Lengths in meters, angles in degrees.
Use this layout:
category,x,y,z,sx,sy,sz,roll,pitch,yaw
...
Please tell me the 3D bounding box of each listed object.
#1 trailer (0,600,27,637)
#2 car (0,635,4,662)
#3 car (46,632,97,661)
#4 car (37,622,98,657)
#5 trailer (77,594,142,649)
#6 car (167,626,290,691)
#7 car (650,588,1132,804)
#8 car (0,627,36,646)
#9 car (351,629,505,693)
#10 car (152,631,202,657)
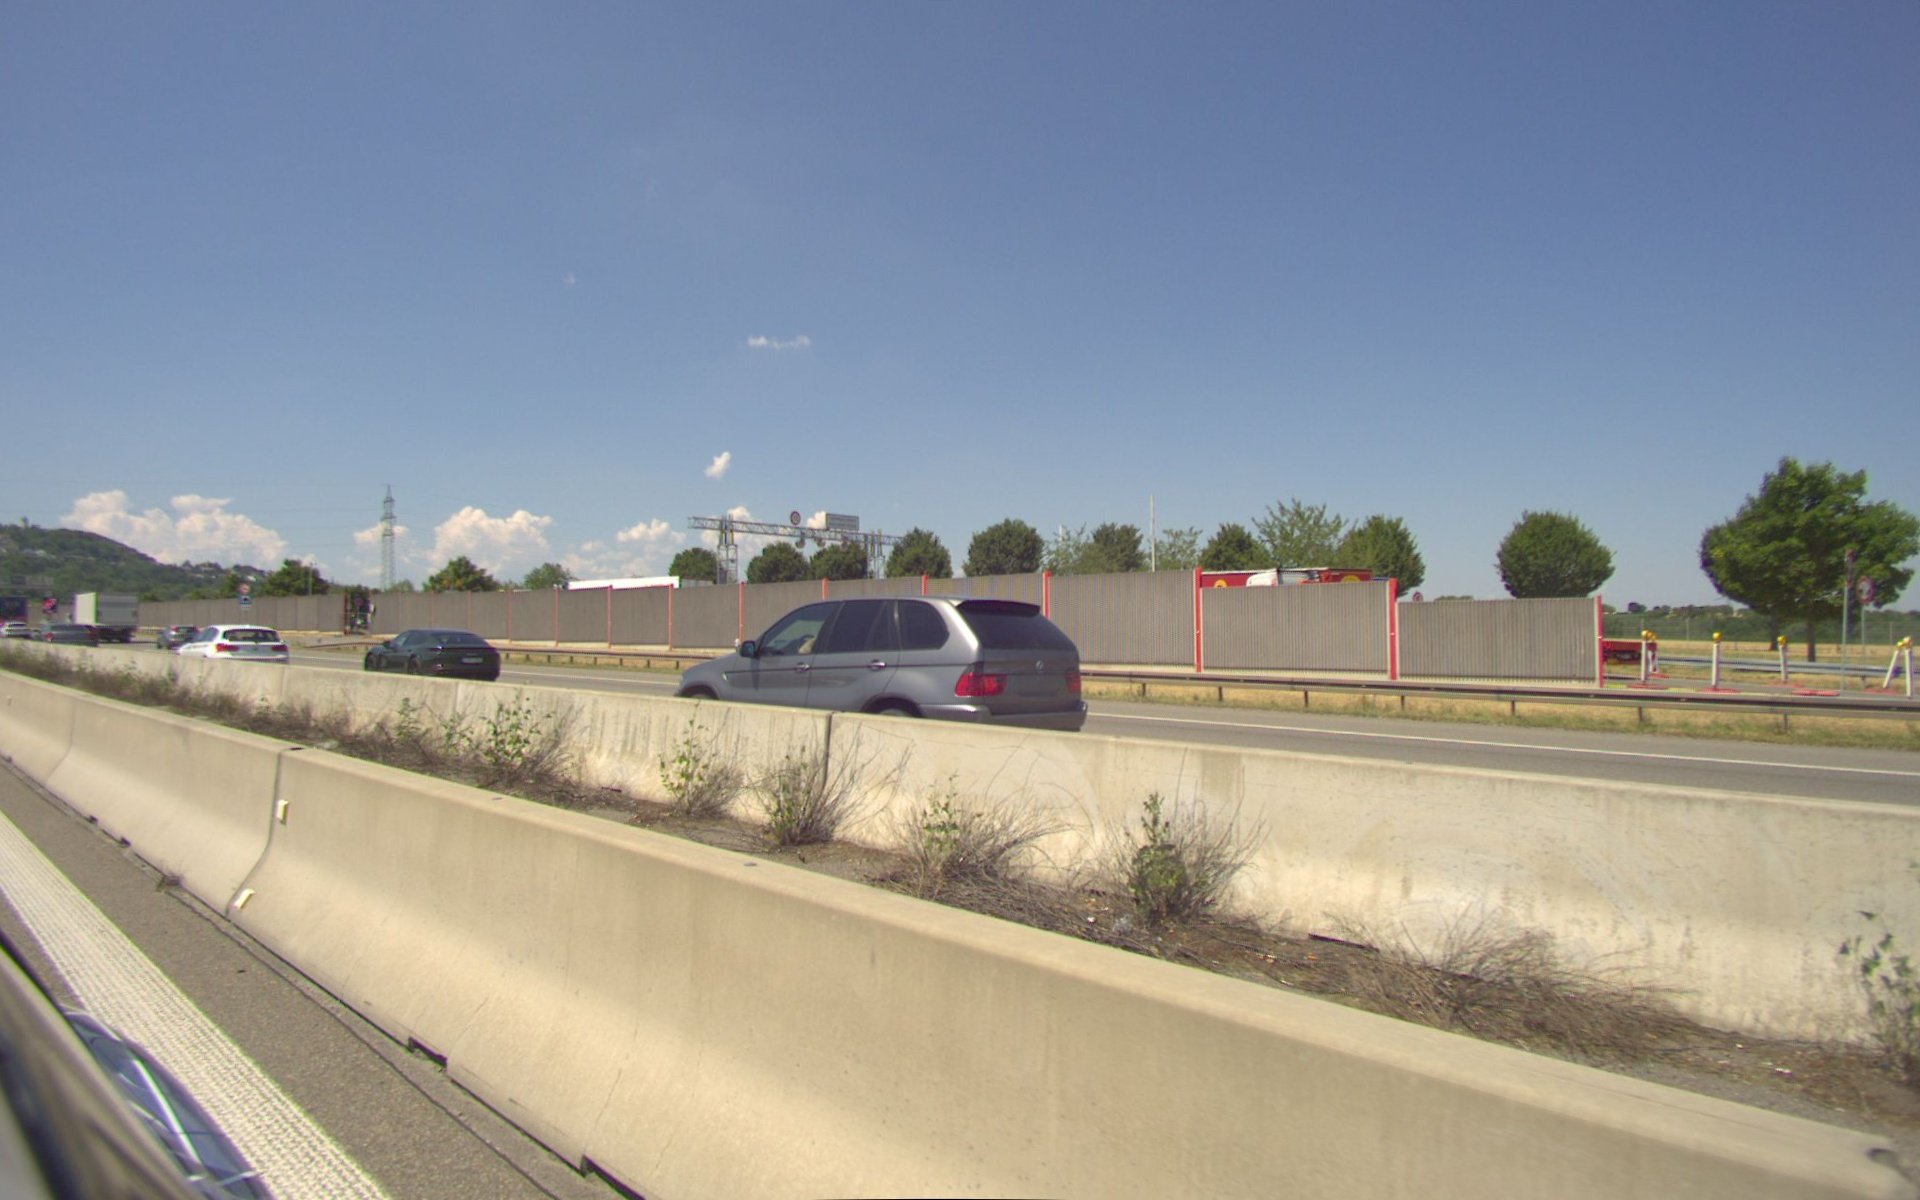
category,x,y,z,sx,sy,sz,roll,pitch,yaw
trailer,-111.547,2.158,117.594,15.156,4.097,2.953,-1,-1,41
car,-66.414,3.294,68.522,4.642,1.772,1.973,-2,-2,41
car,-56.983,2.967,64.904,3.998,1.772,1.973,-2,-2,41
car,-41.952,1.820,47.538,3.998,1.530,1.638,-1,-1,41
trailer,-63.514,1.604,75.502,6.613,3.903,2.620,-1,-3,41
car,-19.272,1.462,26.586,4.506,1.530,1.657,-1,-1,41
car,-0.888,0.762,9.919,4.818,1.629,1.870,-1,-1,41
car,-79.111,3.011,84.889,5.101,1.441,1.772,0,0,40
car,-13.814,1.533,26.130,4.960,1.497,1.793,-1,-4,41
car,-47.536,2.669,61.443,3.998,1.530,1.638,-1,-3,41
